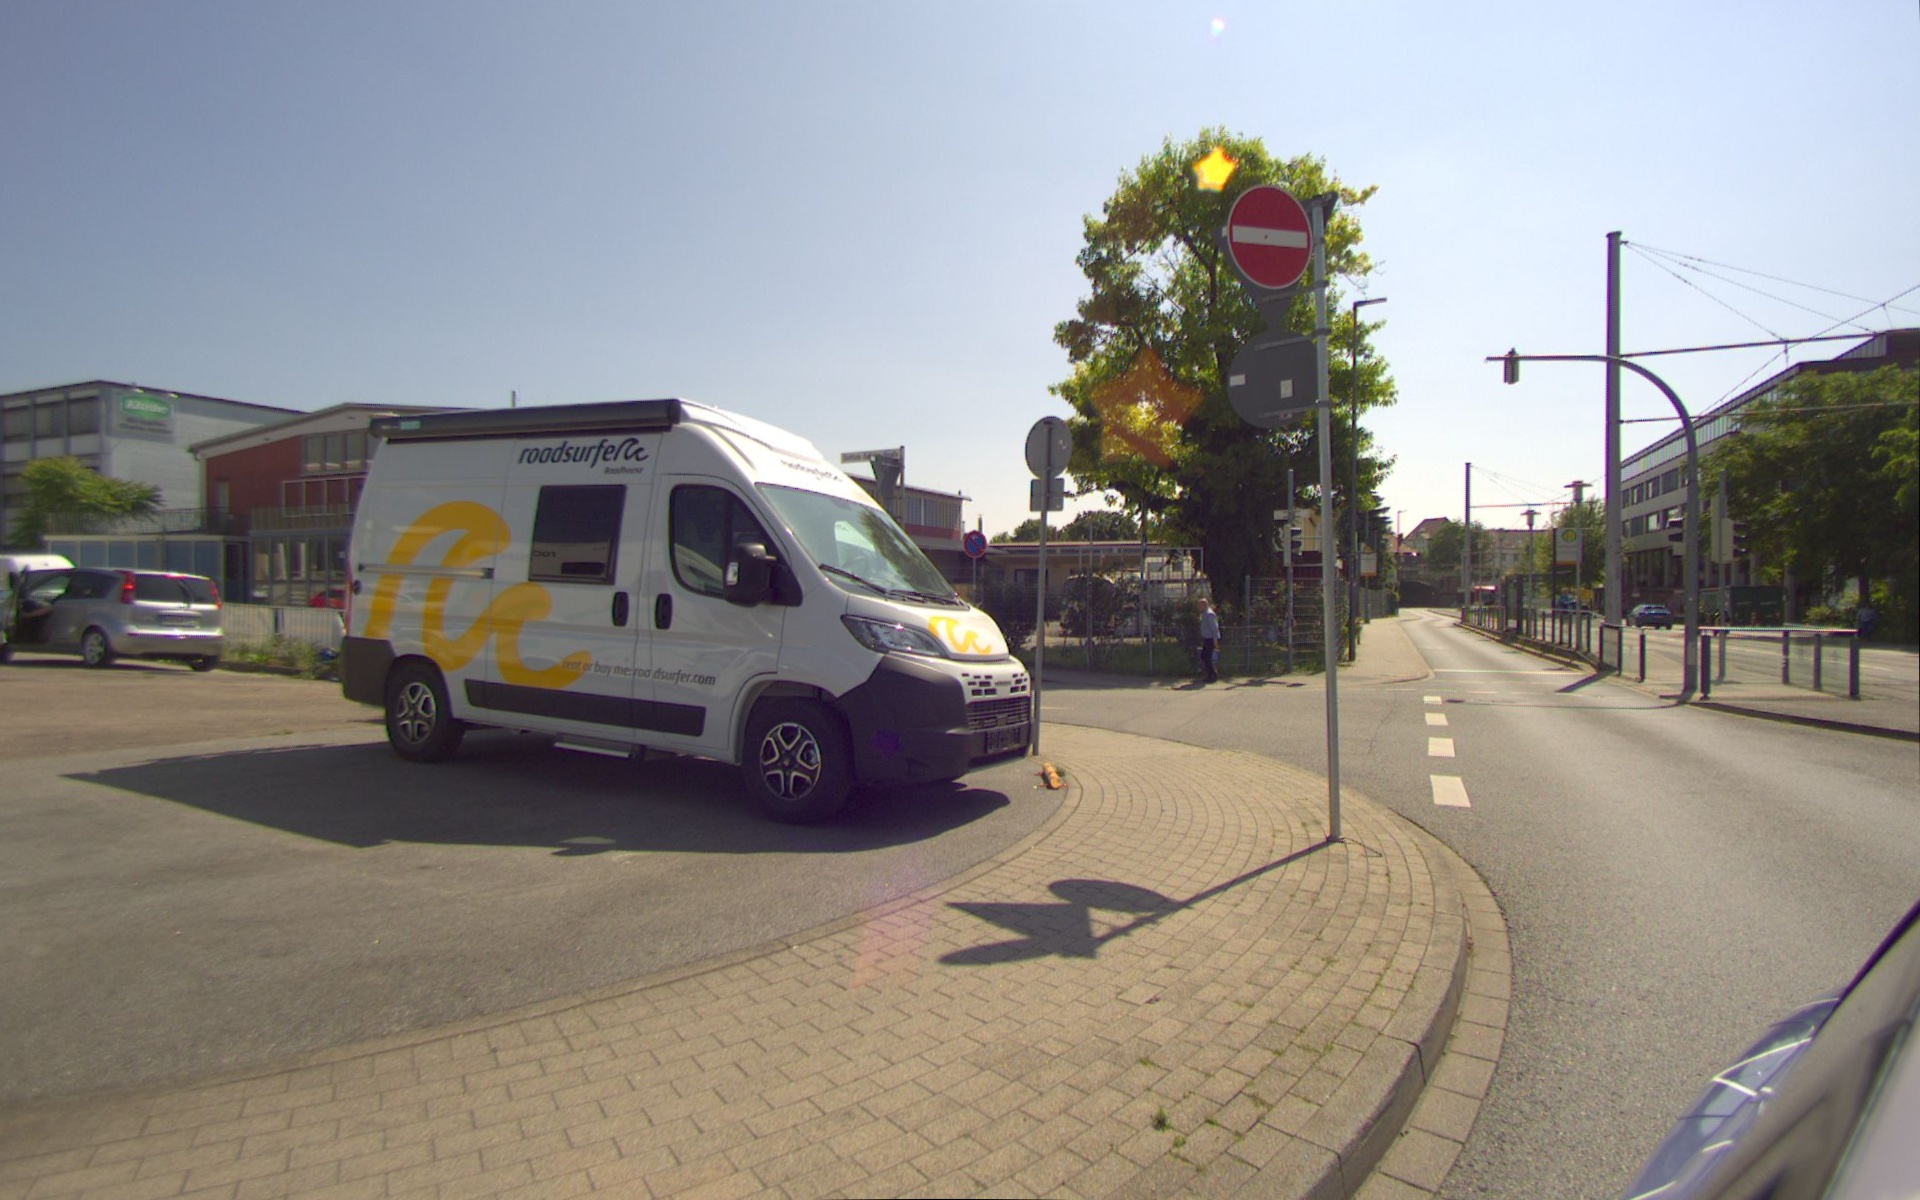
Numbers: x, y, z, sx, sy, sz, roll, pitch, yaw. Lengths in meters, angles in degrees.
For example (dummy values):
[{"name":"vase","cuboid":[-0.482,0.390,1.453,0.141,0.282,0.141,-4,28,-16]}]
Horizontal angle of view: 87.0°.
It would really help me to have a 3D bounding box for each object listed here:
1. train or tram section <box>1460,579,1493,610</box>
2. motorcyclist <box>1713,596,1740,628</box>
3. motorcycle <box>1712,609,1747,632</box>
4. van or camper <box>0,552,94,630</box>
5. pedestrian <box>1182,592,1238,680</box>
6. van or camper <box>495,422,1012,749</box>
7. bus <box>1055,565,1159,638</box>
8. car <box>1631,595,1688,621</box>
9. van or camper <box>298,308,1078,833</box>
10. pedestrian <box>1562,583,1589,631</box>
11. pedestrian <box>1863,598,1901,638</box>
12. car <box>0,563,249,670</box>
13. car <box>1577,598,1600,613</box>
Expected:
[{"name":"train or tram section","cuboid":[63.125,-0.653,123.891,2.652,3.528,12.233,1,1,22]},{"name":"motorcyclist","cuboid":[36.508,0.544,48.216,0.829,1.494,0.955,0,0,23]},{"name":"motorcycle","cuboid":[36.371,0.969,47.845,0.815,1.024,1.949,0,0,22]},{"name":"van or camper","cuboid":[-35.695,-0.336,37.984,6.671,2.713,2.326,0,0,25]},{"name":"pedestrian","cuboid":[5.059,0.717,20.491,0.870,1.721,0.815,1,0,-2]},{"name":"van or camper","cuboid":[-2.338,-0.099,11.023,5.473,2.851,2.027,0,-2,28]},{"name":"bus","cuboid":[7.557,-0.125,50.451,2.546,3.210,10.188,0,2,24]},{"name":"car","cuboid":[42.537,0.475,61.619,1.892,1.460,4.559,2,1,23]},{"name":"van or camper","cuboid":[-2.198,-0.202,7.657,5.773,2.809,2.071,1,-1,27]},{"name":"pedestrian","cuboid":[22.962,0.257,37.759,0.718,1.747,0.937,-1,-1,23]},{"name":"pedestrian","cuboid":[37.070,0.708,40.702,0.863,1.546,0.839,1,0,23]},{"name":"car","cuboid":[-13.555,0.247,16.082,3.848,1.535,1.803,1,-2,21]},{"name":"car","cuboid":[70.601,0.638,113.752,1.983,1.643,3.957,1,0,30]}]
